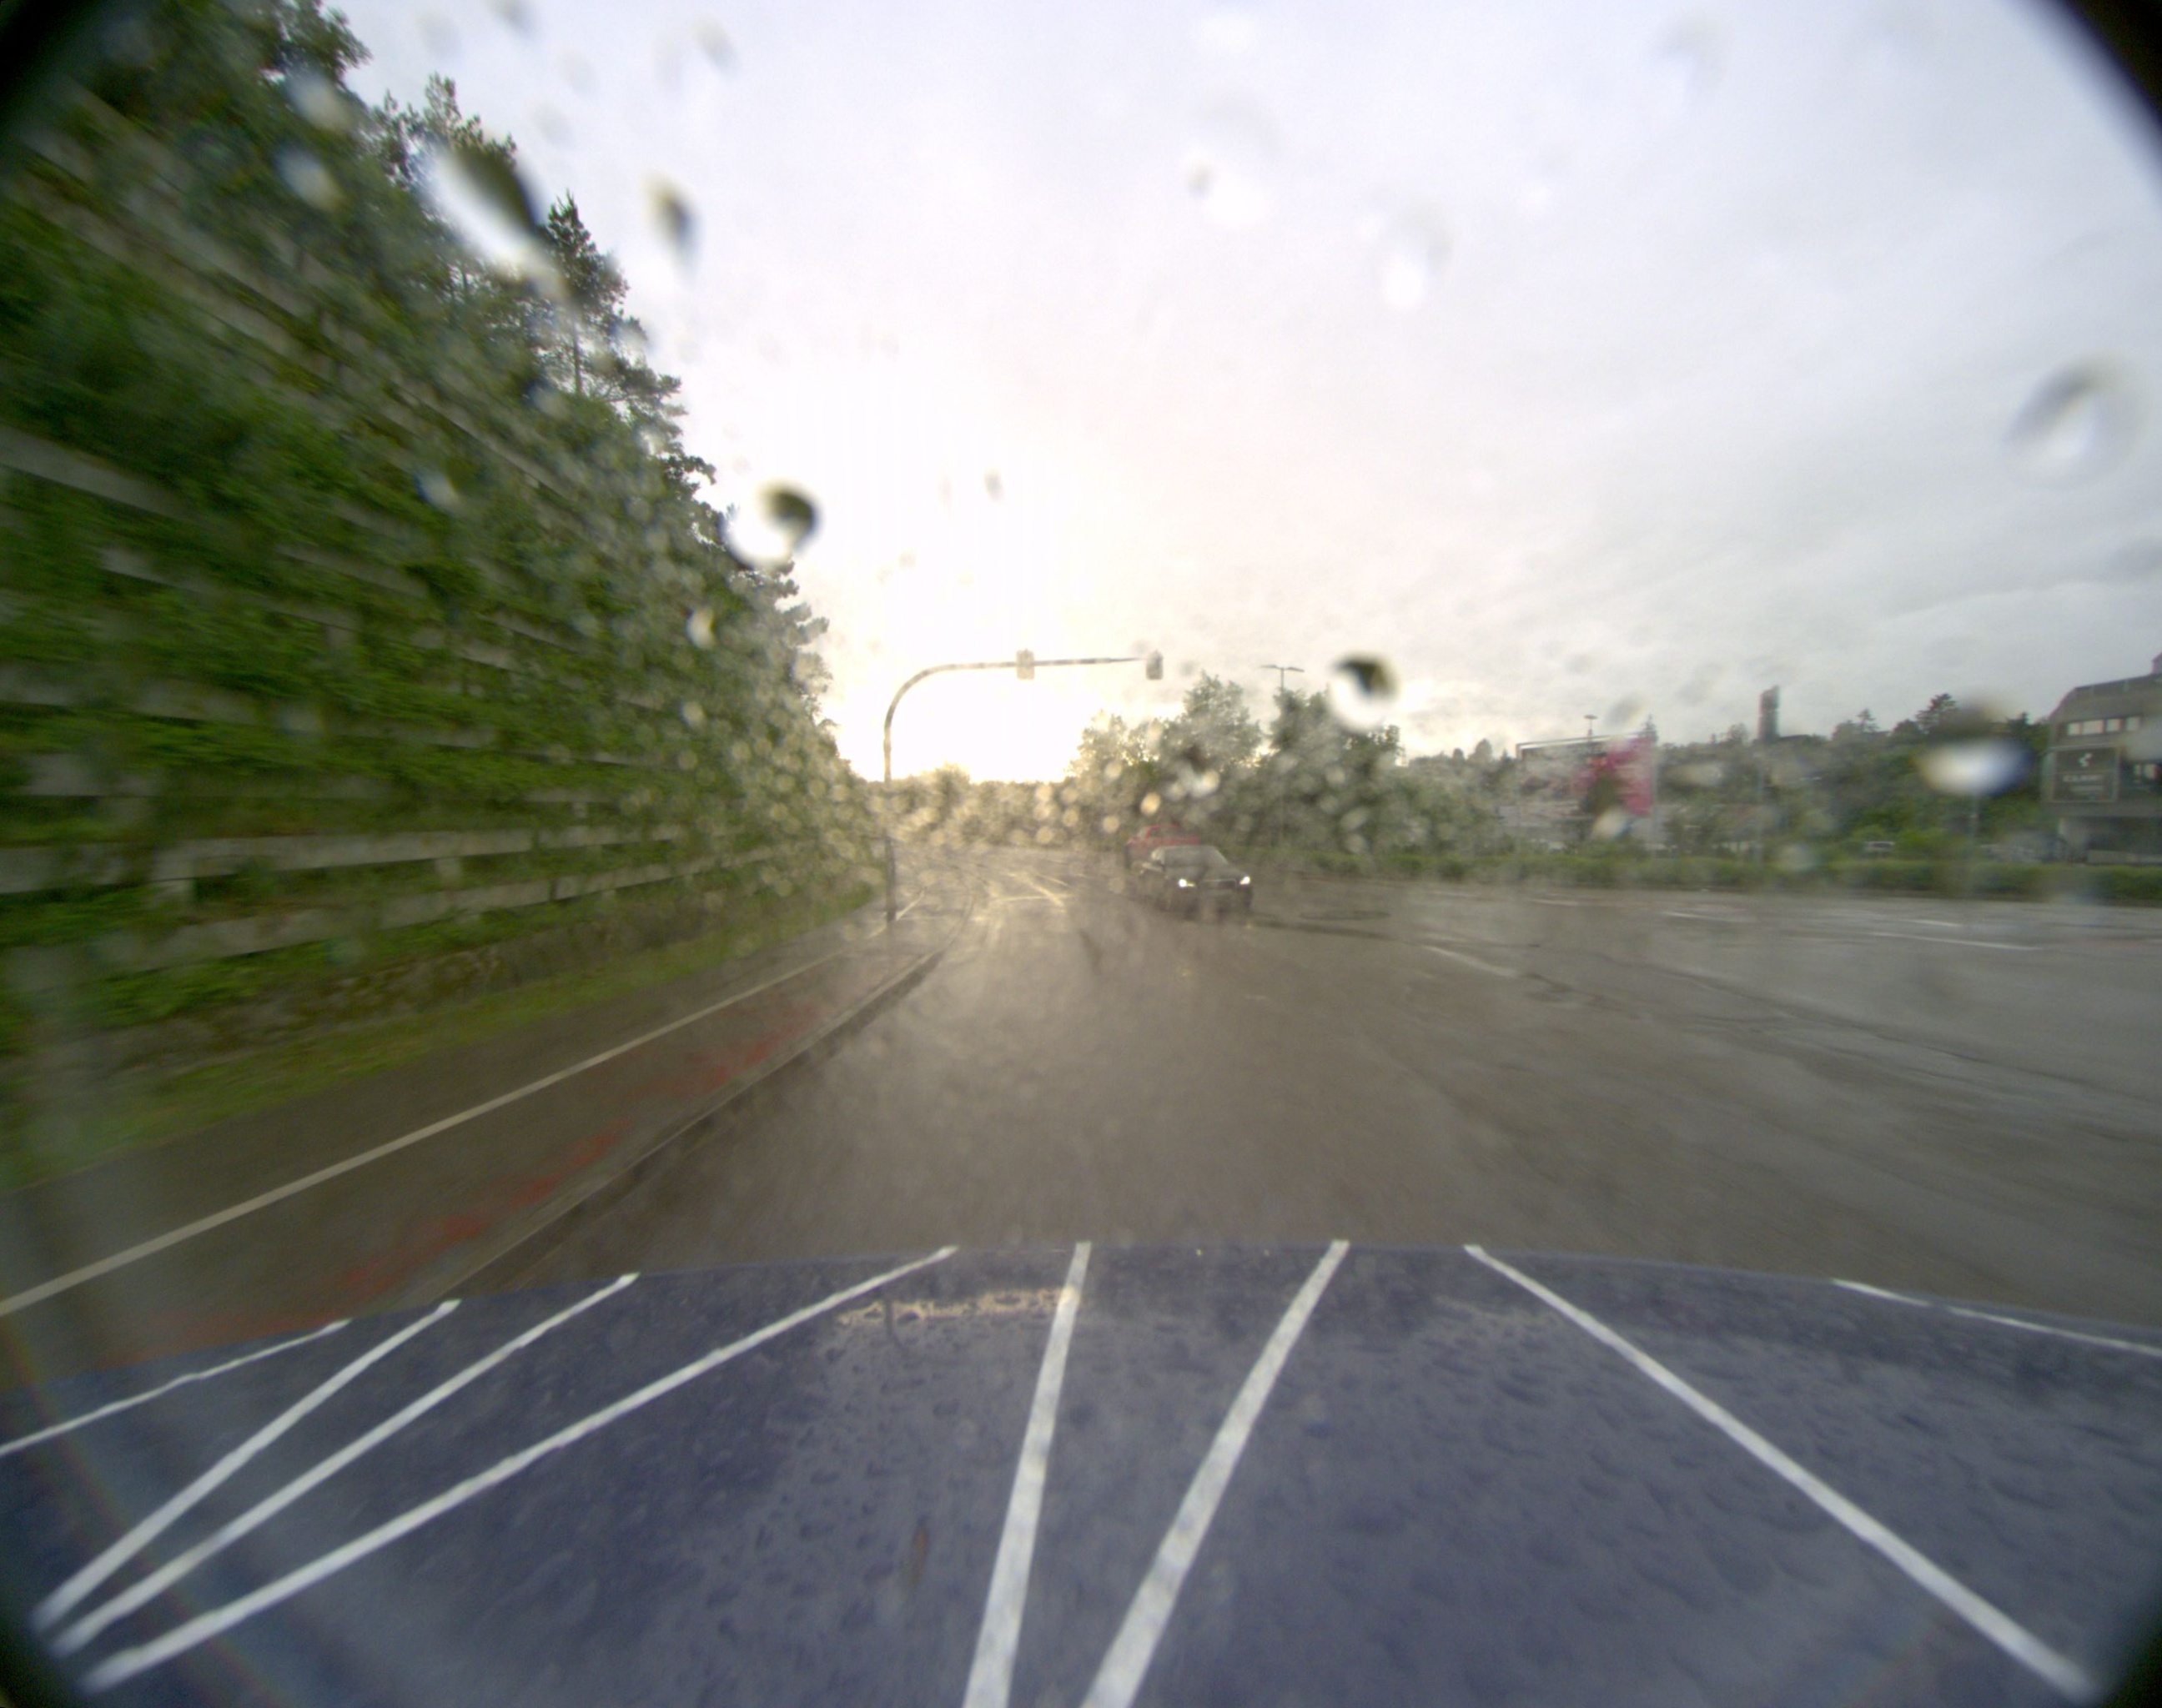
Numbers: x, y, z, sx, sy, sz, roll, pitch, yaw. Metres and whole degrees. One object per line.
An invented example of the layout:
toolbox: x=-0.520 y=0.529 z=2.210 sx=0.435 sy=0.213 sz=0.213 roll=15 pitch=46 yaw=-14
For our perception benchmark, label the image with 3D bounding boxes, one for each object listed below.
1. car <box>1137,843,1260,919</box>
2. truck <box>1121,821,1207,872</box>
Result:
car: x=2.543 y=0.513 z=17.419 sx=1.760 sy=1.388 sz=3.996 roll=-2 pitch=2 yaw=-7
truck: x=3.519 y=-0.415 z=33.473 sx=2.001 sy=2.003 sz=5.329 roll=-3 pitch=3 yaw=-14
